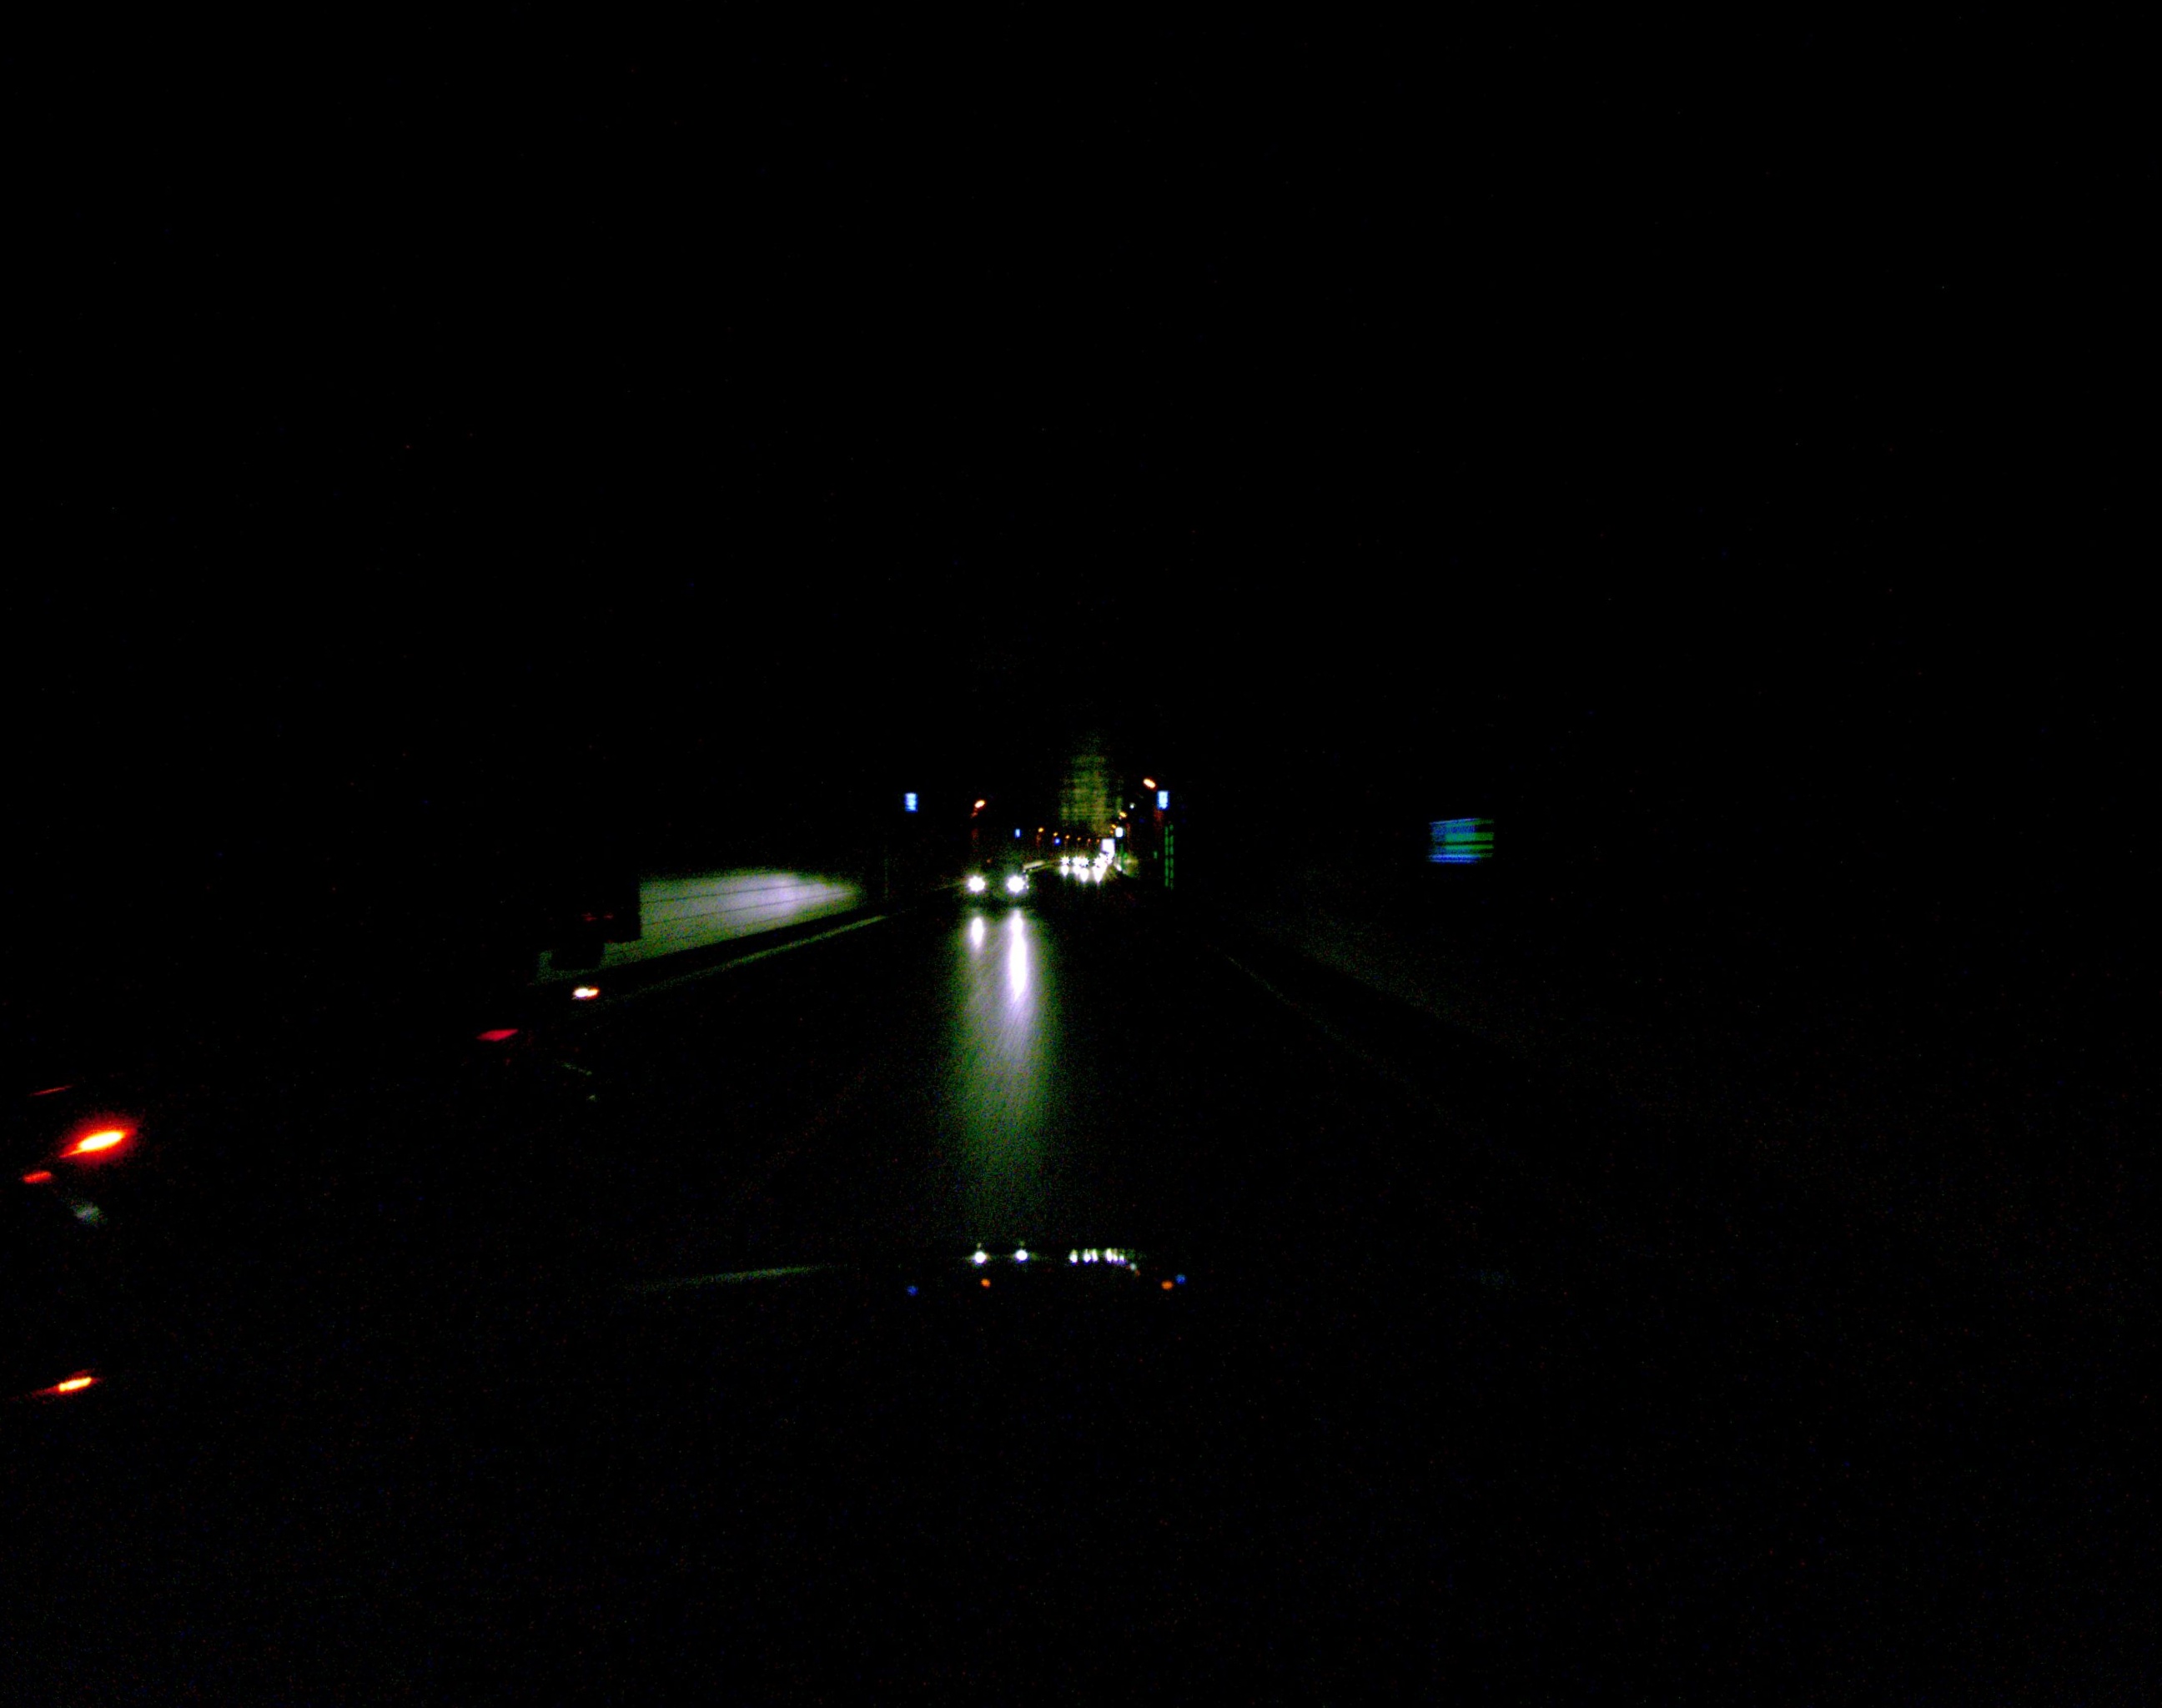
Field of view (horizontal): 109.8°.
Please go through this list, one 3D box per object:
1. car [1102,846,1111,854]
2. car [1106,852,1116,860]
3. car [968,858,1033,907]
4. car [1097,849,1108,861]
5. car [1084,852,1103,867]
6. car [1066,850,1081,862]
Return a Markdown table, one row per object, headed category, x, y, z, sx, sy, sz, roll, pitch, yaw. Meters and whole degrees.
| category | x | y | z | sx | sy | sz | roll | pitch | yaw |
| --- | --- | --- | --- | --- | --- | --- | --- | --- | --- |
| car | 6.352 | -1.100 | 190.708 | 1.997 | 1.904 | 4.001 | -2 | 1 | 6 |
| car | 6.363 | 0.318 | 159.942 | 1.811 | 1.576 | 4.001 | -2 | 0 | 5 |
| car | -2.642 | 0.893 | 25.709 | 1.735 | 1.395 | 3.798 | -2 | 1 | 1 |
| car | 3.583 | 0.168 | 124.169 | 1.714 | 1.729 | 3.999 | -1 | 2 | 2 |
| car | 1.403 | 0.619 | 84.201 | 1.819 | 1.589 | 4.001 | 1 | 0 | 4 |
| car | -1.040 | 0.266 | 100.891 | 1.735 | 1.565 | 4.000 | -2 | 0 | 2 |
